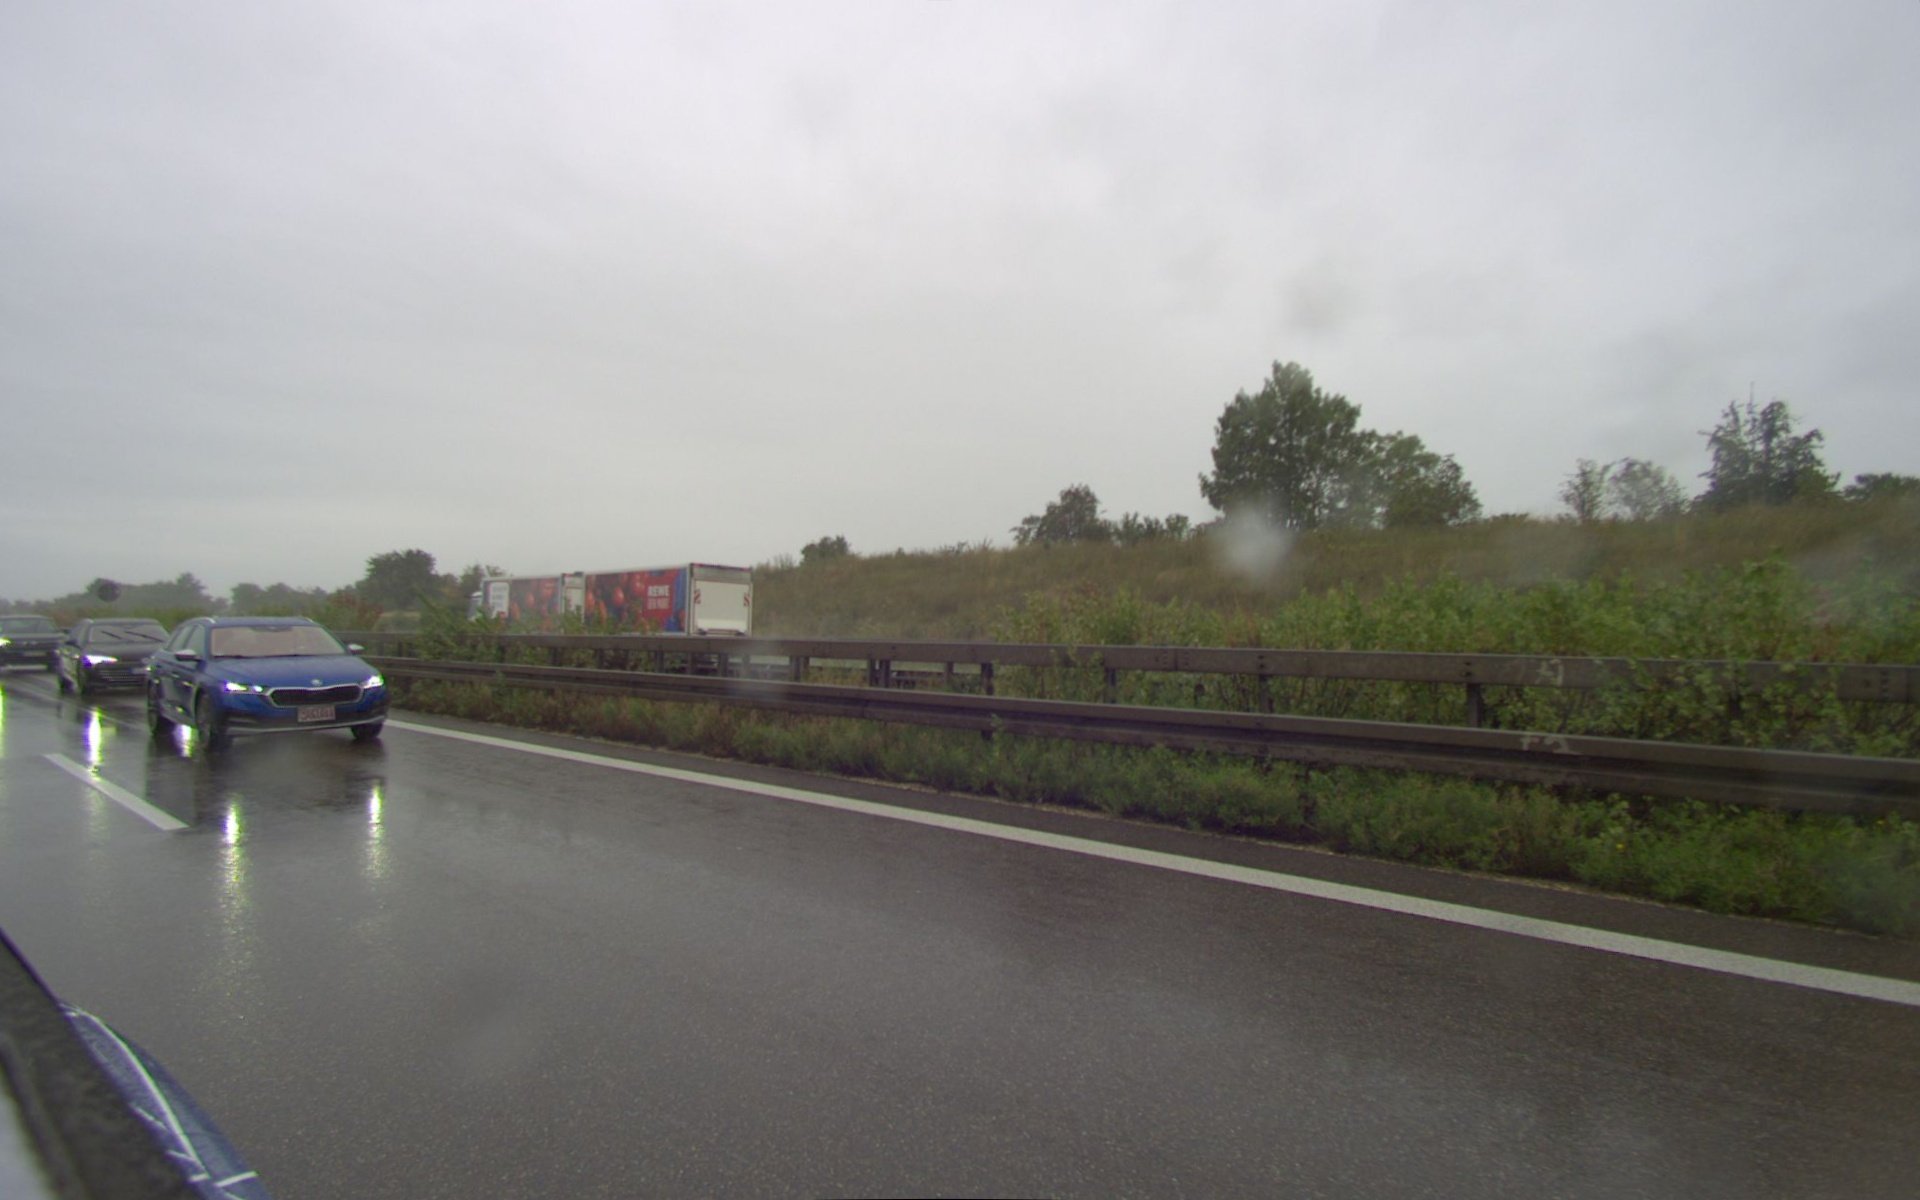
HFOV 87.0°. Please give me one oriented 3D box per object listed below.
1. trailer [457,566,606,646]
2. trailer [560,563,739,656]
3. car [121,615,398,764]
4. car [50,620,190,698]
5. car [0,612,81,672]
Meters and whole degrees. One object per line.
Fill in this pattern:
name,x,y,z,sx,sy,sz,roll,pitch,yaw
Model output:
trailer,-18.613,0.314,43.557,9.550,3.105,1.973,-1,-1,41
trailer,-11.656,0.389,37.397,8.868,3.105,1.973,-1,-1,41
car,-8.690,0.958,12.392,4.510,1.487,1.767,-1,-1,41
car,-17.481,1.156,20.997,4.368,1.447,1.592,-1,-1,41
car,-27.676,1.201,30.027,4.267,1.644,1.864,-1,-1,41
